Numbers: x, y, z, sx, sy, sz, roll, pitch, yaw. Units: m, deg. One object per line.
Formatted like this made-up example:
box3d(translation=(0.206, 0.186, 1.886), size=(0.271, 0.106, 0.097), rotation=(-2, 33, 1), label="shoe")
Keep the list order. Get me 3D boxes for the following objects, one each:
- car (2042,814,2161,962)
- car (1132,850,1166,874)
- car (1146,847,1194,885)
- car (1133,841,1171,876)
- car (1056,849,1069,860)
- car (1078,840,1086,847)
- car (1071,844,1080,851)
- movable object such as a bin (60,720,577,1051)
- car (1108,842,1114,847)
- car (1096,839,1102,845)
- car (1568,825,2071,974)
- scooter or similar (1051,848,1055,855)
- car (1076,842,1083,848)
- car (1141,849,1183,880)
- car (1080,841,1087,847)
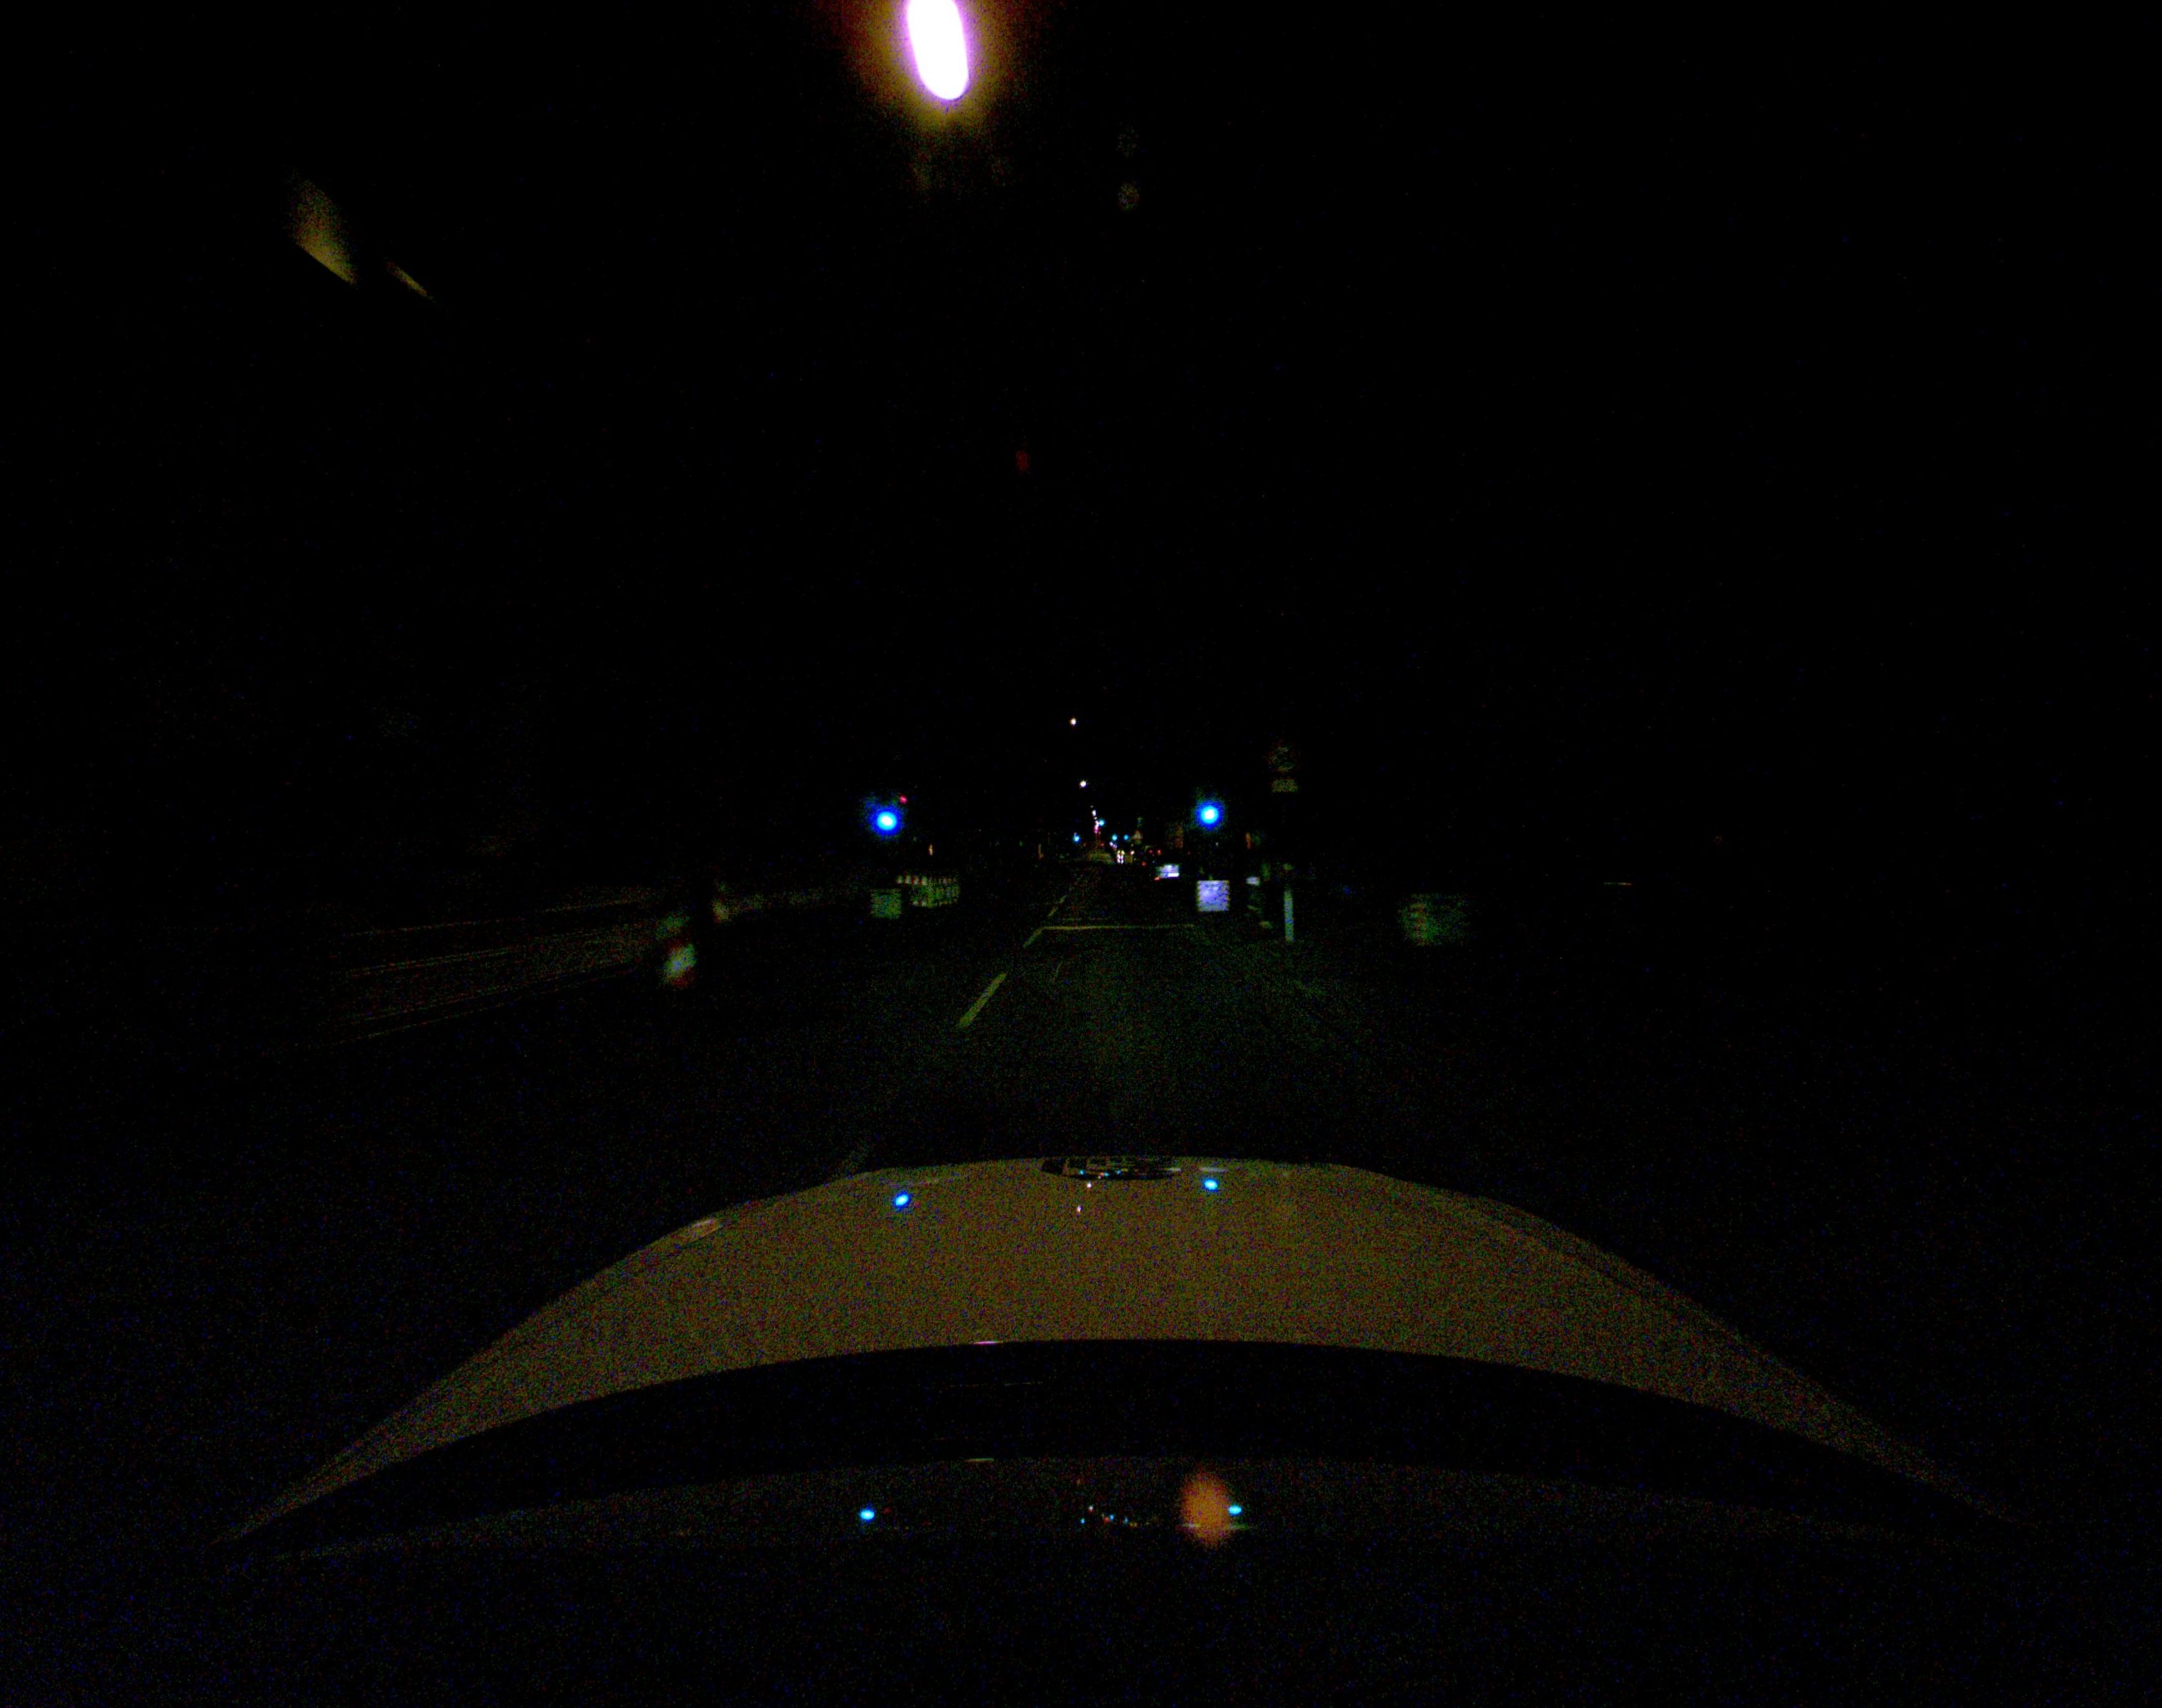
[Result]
box3d(translation=(12.786, 0.268, 8.184), size=(4.180, 1.467, 1.851), rotation=(-2, 0, -2), label="car")
box3d(translation=(4.280, 0.483, 51.902), size=(1.722, 1.419, 4.321), rotation=(-1, 0, -1), label="car")
box3d(translation=(3.851, 0.470, 35.795), size=(1.733, 1.477, 4.002), rotation=(-3, 0, 2), label="car")
box3d(translation=(4.060, 0.249, 47.037), size=(1.730, 1.855, 4.315), rotation=(-2, 0, 0), label="car")
box3d(translation=(-2.563, 0.037, 114.160), size=(1.665, 1.443, 4.206), rotation=(-1, 1, 1), label="car")
box3d(translation=(0.291, -2.904, 229.551), size=(1.866, 1.814, 4.206), rotation=(-1, 1, 1), label="car")
box3d(translation=(-1.170, -1.597, 186.244), size=(1.866, 1.544, 4.206), rotation=(-1, 1, 1), label="car")
box3d(translation=(-7.376, 0.256, 8.533), size=(1.565, 2.626, 3.912), rotation=(-2, 0, 2), label="movable object such as a bin")
box3d(translation=(8.679, -2.771, 236.479), size=(1.866, 1.544, 4.206), rotation=(-1, 1, 1), label="car")
box3d(translation=(5.630, -3.677, 253.848), size=(1.866, 1.814, 4.207), rotation=(-1, 1, 2), label="car")
box3d(translation=(8.077, 0.486, 9.220), size=(4.002, 1.422, 1.851), rotation=(-1, -2, -1), label="car")
box3d(translation=(-4.865, -0.472, 140.054), size=(0.526, 1.165, 2.507), rotation=(-3, -1, 1), label="scooter or similar")
box3d(translation=(-0.355, -2.447, 223.153), size=(1.866, 1.544, 4.206), rotation=(-1, 1, 1), label="car")
box3d(translation=(4.006, 0.493, 40.820), size=(1.680, 1.421, 4.444), rotation=(-2, 0, 1), label="car")
box3d(translation=(0.824, -3.096, 247.855), size=(1.866, 1.814, 4.206), rotation=(-1, 1, 1), label="car")
